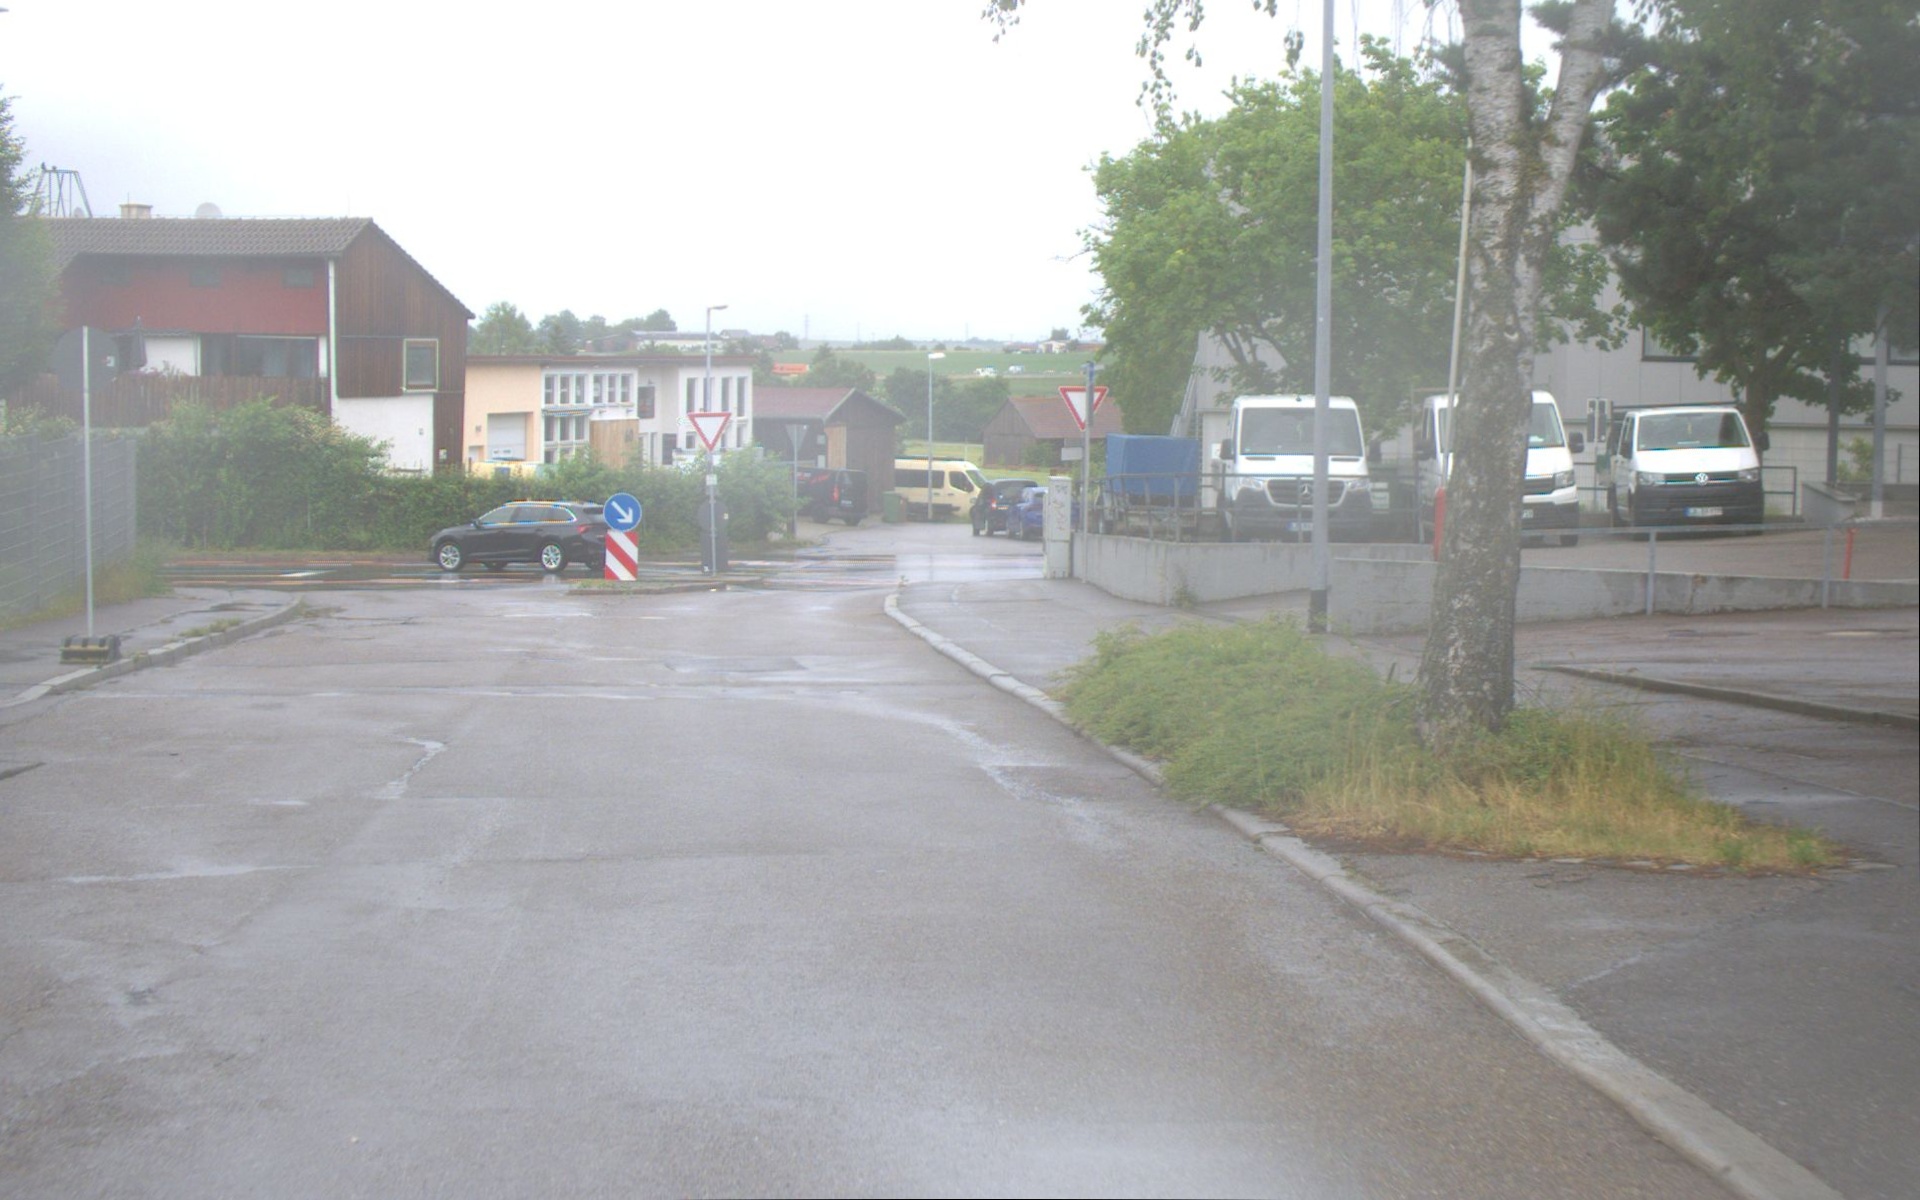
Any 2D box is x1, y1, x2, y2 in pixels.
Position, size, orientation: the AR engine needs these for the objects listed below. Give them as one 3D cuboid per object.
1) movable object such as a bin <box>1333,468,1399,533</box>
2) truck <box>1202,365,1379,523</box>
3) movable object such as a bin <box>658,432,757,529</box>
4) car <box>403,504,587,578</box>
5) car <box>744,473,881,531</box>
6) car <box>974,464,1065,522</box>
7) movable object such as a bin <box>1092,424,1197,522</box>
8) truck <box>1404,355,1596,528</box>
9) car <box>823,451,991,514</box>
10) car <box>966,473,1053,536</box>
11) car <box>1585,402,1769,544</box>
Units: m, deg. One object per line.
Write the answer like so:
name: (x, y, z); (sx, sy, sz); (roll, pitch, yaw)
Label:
movable object such as a bin: (6.595, -1.612, 55.777); (1.050, 1.039, 0.884); (0, 1, 8)
truck: (4.838, -2.263, 51.041); (2.105, 2.206, 5.653); (0, 2, 0)
movable object such as a bin: (-6.710, -3.174, 91.627); (1.734, 2.547, 3.338); (0, 1, 13)
car: (-9.883, -1.276, 72.961); (3.997, 1.529, 1.756); (2, 2, 44)
car: (-4.951, -3.272, 115.109); (4.406, 1.898, 1.995); (1, 2, 41)
car: (1.657, -3.010, 97.263); (1.951, 1.604, 4.448); (0, 2, -7)
movable object such as a bin: (2.861, -1.973, 53.579); (1.306, 1.495, 1.859); (0, 1, -8)
truck: (7.870, -2.283, 50.554); (2.243, 2.333, 4.837); (2, 2, 3)
car: (-2.048, -4.521, 132.795); (6.014, 2.406, 2.461); (1, 2, 19)
car: (1.463, -2.863, 103.256); (2.073, 1.828, 4.472); (0, 2, -6)
car: (10.596, -1.861, 51.166); (2.056, 2.007, 4.938); (0, 2, 5)
